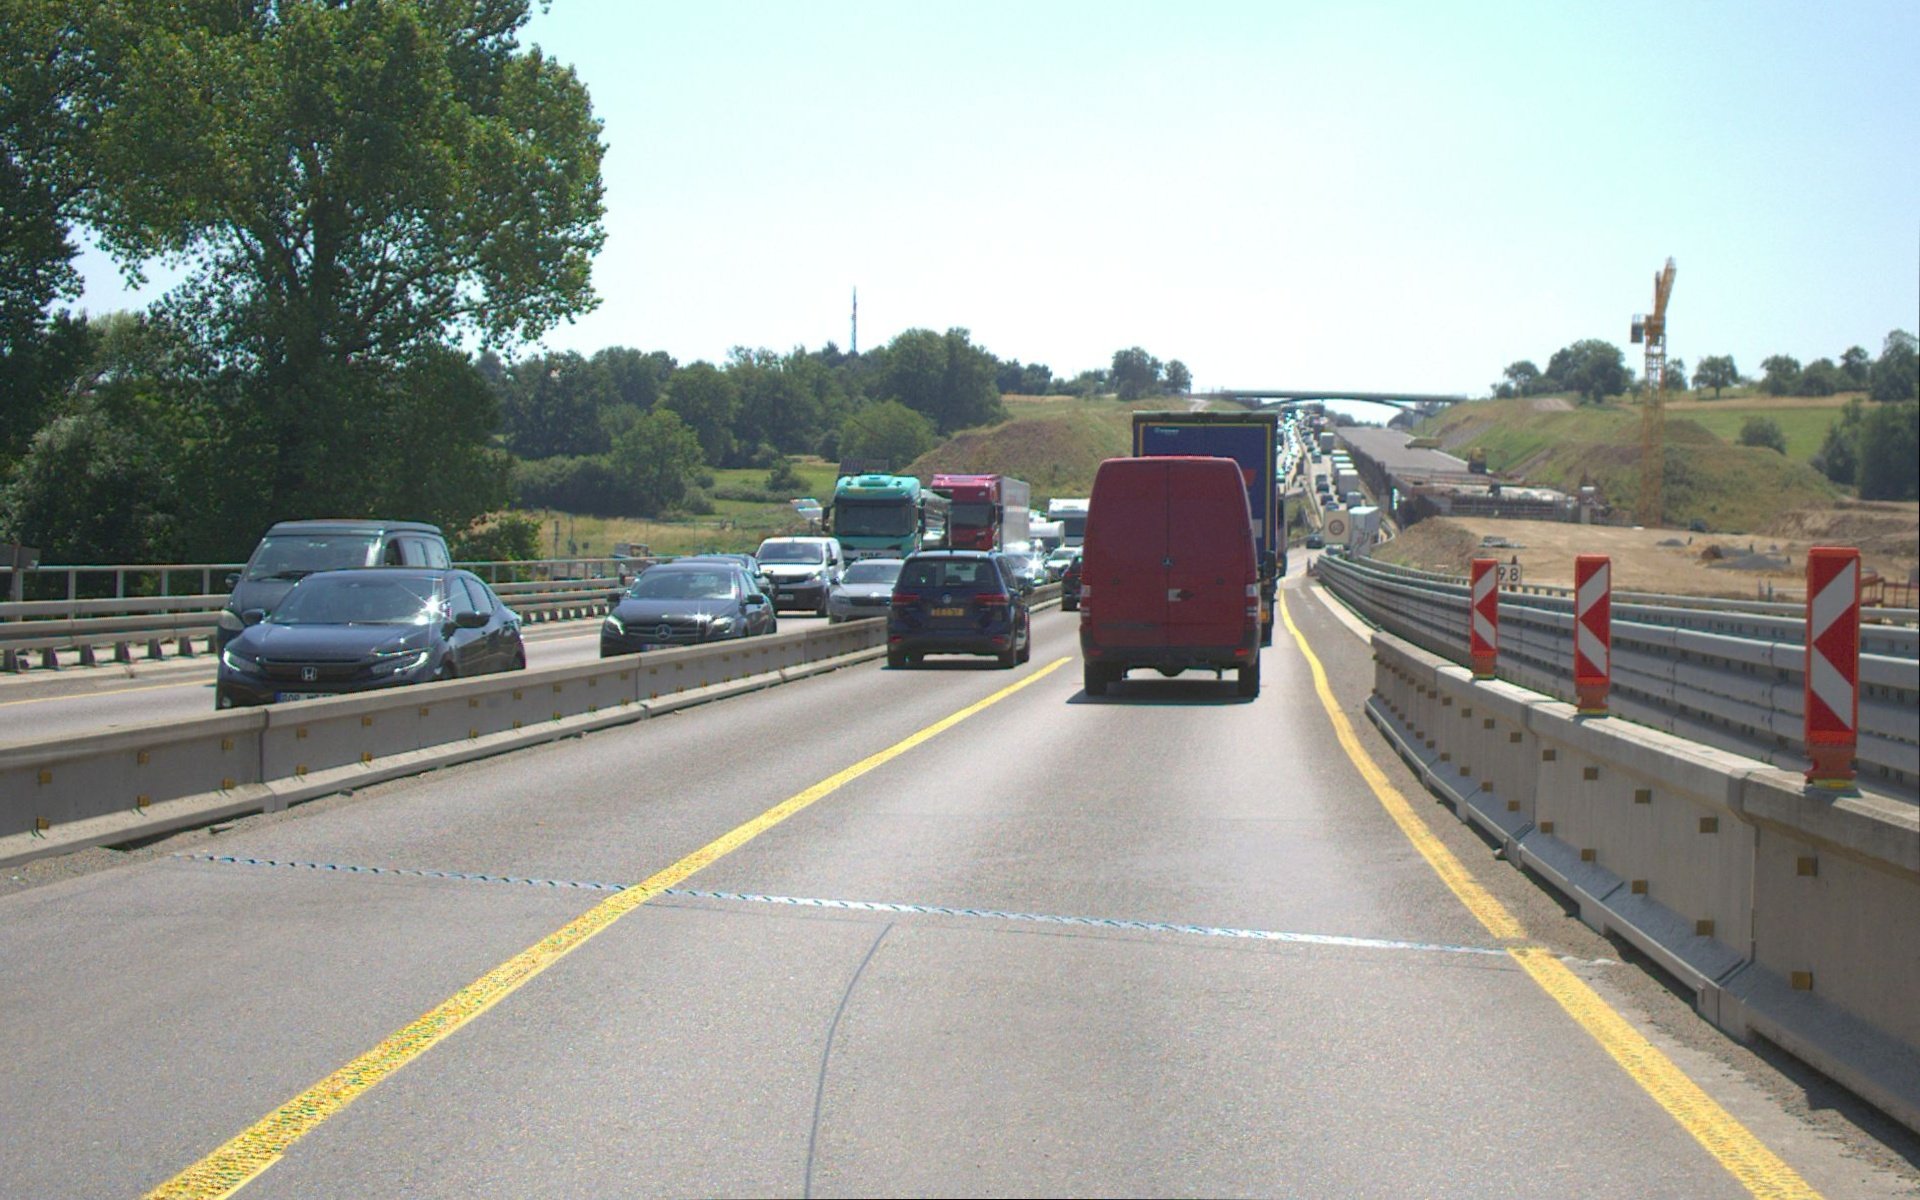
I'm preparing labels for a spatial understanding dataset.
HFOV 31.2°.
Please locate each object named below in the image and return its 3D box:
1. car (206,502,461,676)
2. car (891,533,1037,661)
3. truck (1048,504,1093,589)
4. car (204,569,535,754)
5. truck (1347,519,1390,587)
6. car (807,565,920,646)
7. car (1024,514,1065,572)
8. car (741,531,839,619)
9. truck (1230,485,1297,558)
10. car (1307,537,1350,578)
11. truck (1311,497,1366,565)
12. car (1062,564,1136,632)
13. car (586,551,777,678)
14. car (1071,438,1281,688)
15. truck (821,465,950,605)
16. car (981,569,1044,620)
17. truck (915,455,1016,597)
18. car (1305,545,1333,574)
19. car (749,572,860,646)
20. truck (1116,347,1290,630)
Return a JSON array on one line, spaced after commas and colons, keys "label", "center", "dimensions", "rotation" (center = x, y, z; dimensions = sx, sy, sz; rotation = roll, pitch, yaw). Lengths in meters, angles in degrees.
[{"label": "car", "center": [-7.545, -0.153, 41.909], "dimensions": [1.820, 1.936, 5.063], "rotation": [2, 1, 4]}, {"label": "car", "center": [0.099, -0.081, 49.039], "dimensions": [1.734, 1.629, 4.389], "rotation": [2, 2, 4]}, {"label": "truck", "center": [5.793, -2.741, 179.582], "dimensions": [1.994, 3.992, 6.480], "rotation": [1, -3, 4]}, {"label": "car", "center": [-4.829, 0.451, 28.712], "dimensions": [1.669, 1.360, 4.439], "rotation": [2, 1, 4]}, {"label": "truck", "center": [25.080, -2.830, 211.215], "dimensions": [2.291, 3.726, 6.480], "rotation": [1, -3, 5]}, {"label": "car", "center": [-1.884, 0.094, 68.147], "dimensions": [1.820, 1.491, 4.133], "rotation": [2, 1, 4]}, {"label": "car", "center": [3.873, -2.586, 156.806], "dimensions": [1.618, 2.593, 3.889], "rotation": [2, 1, 4]}, {"label": "car", "center": [-4.044, -0.607, 82.307], "dimensions": [1.993, 2.007, 4.000], "rotation": [1, 1, 2]}, {"label": "truck", "center": [15.068, -3.865, 171.367], "dimensions": [3.184, 2.967, 8.896], "rotation": [1, -3, 4]}, {"label": "car", "center": [15.628, -1.799, 145.906], "dimensions": [1.618, 1.694, 3.889], "rotation": [2, 1, 4]}, {"label": "truck", "center": [18.176, -3.301, 165.464], "dimensions": [2.291, 3.185, 6.482], "rotation": [1, 1, 4]}, {"label": "car", "center": [3.725, -0.075, 91.602], "dimensions": [1.820, 1.691, 4.133], "rotation": [2, 1, 4]}, {"label": "car", "center": [-3.520, 0.152, 44.194], "dimensions": [1.757, 1.491, 4.439], "rotation": [2, 1, 4]}, {"label": "car", "center": [2.474, -0.349, 39.608], "dimensions": [2.150, 2.602, 5.437], "rotation": [2, -1, 3]}, {"label": "truck", "center": [-2.170, -1.948, 105.380], "dimensions": [2.809, 3.950, 12.132], "rotation": [2, 1, 4]}, {"label": "car", "center": [1.612, -0.183, 105.202], "dimensions": [1.710, 1.491, 3.601], "rotation": [2, 1, 4]}, {"label": "truck", "center": [0.298, -2.681, 127.101], "dimensions": [2.809, 4.922, 12.132], "rotation": [2, 1, 4]}, {"label": "car", "center": [23.957, -2.714, 229.728], "dimensions": [1.618, 1.830, 3.889], "rotation": [2, 0, 3]}, {"label": "car", "center": [-3.367, 0.171, 75.336], "dimensions": [1.820, 1.491, 5.172], "rotation": [2, 1, 4]}, {"label": "truck", "center": [4.465, -2.002, 63.878], "dimensions": [2.945, 4.929, 6.741], "rotation": [1, 1, 3]}]
